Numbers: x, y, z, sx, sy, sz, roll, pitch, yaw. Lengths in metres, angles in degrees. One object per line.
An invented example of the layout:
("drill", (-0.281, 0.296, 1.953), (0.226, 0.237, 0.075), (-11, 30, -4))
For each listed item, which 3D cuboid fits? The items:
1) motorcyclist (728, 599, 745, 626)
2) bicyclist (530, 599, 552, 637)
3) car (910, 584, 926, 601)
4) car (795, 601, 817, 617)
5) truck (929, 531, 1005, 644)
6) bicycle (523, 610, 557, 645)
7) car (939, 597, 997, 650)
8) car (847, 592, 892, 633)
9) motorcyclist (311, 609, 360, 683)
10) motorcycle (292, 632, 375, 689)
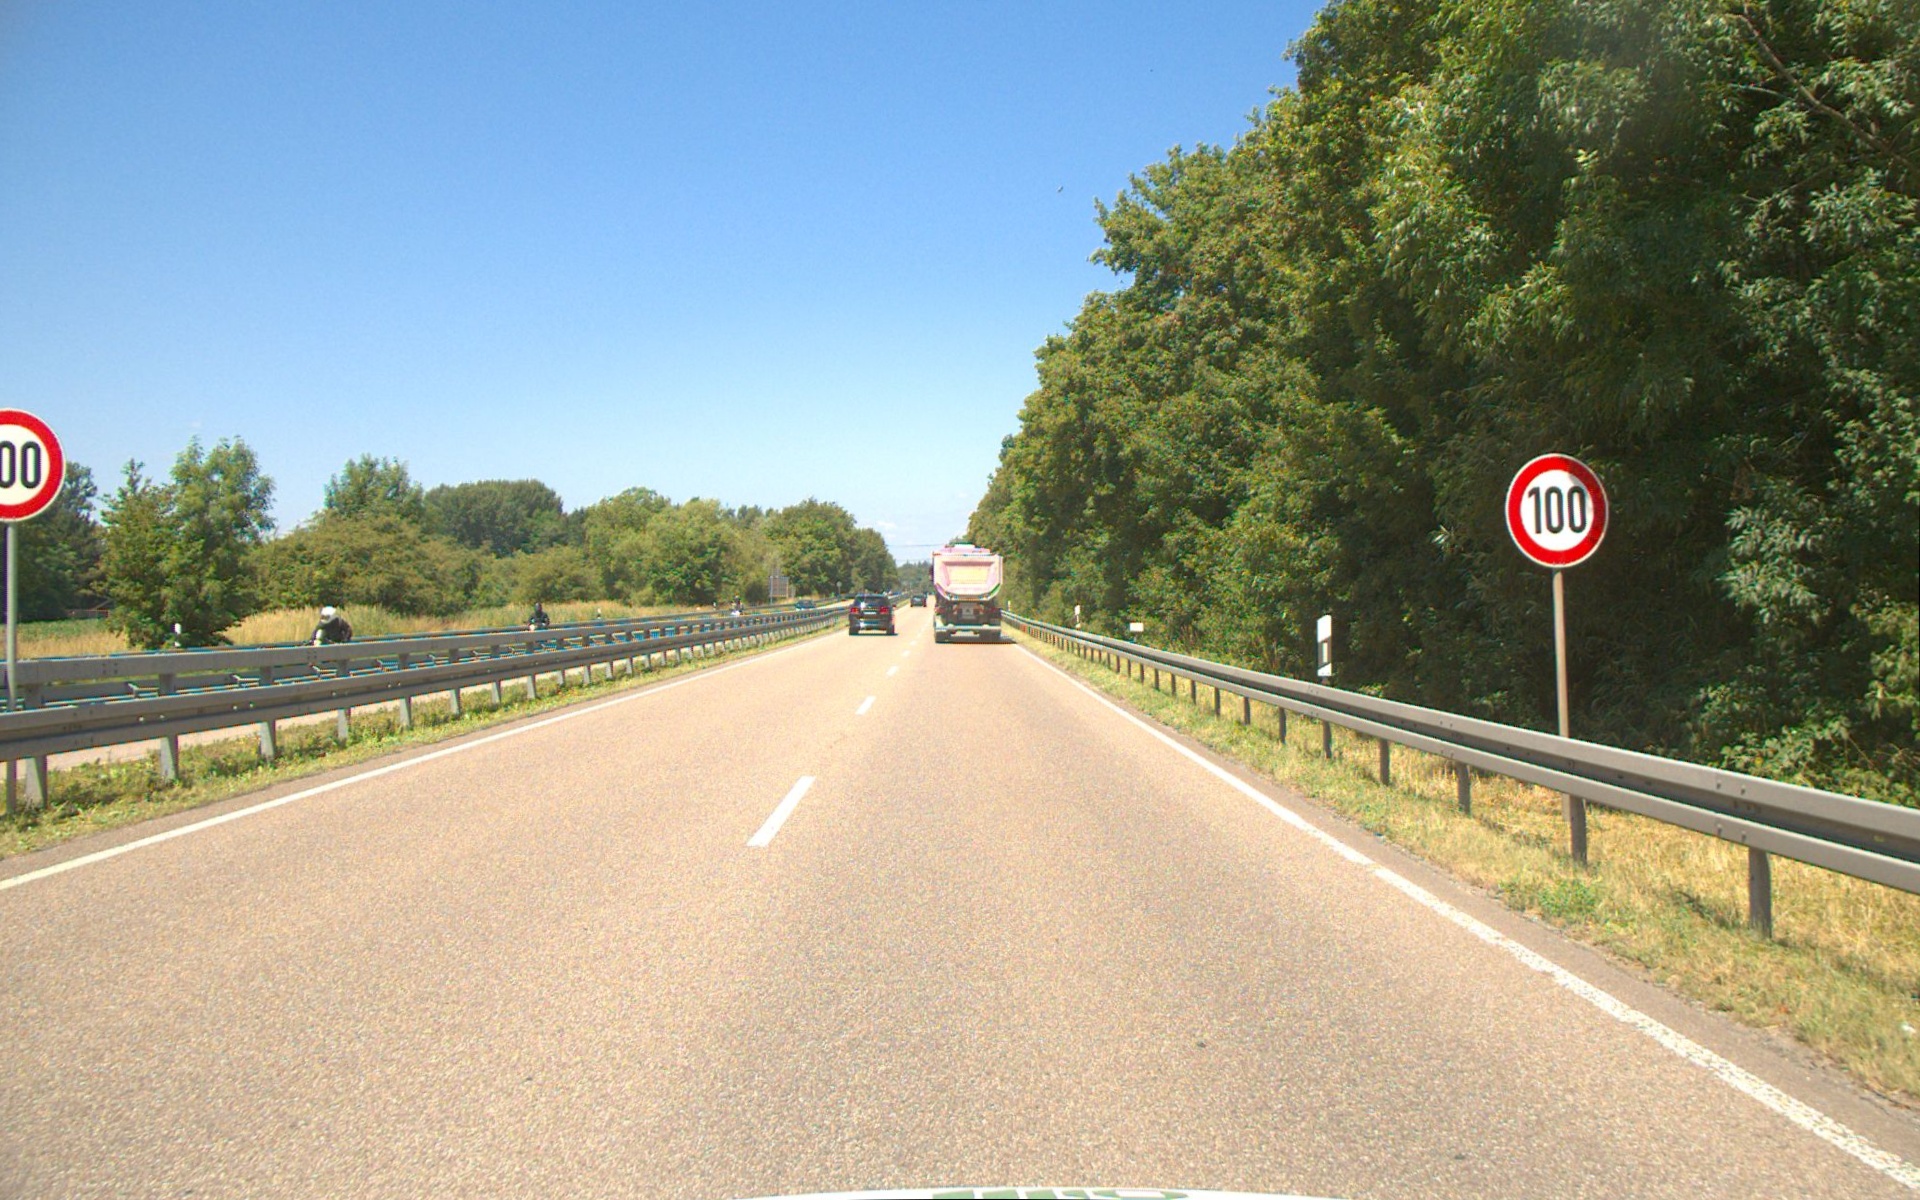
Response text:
("motorcyclist", (-13.835, 0.749, 102.490), (0.926, 1.645, 0.809), (-1, 0, -2))
("bicyclist", (-14.320, 0.613, 56.492), (0.601, 1.299, 0.608), (0, 0, -1))
("car", (-4.753, -0.863, 186.351), (1.820, 1.748, 3.998), (1, -1, -2))
("car", (-13.038, 0.758, 139.974), (1.595, 1.355, 3.535), (0, 0, -1))
("truck", (0.125, -0.505, 64.898), (2.665, 3.999, 12.367), (0, 0, -1))
("bicycle", (-14.314, 0.923, 56.460), (0.601, 1.178, 2.280), (0, 0, -1))
("car", (0.223, 0.815, 55.719), (1.820, 1.701, 3.998), (1, -1, -2))
("car", (-3.929, 0.571, 72.457), (1.820, 1.701, 3.998), (1, -1, -2))
("motorcyclist", (-12.908, 0.935, 34.200), (0.703, 1.508, 0.809), (0, 0, -1))
("motorcycle", (-12.910, 1.226, 34.186), (0.712, 1.083, 2.666), (0, 0, 0))
